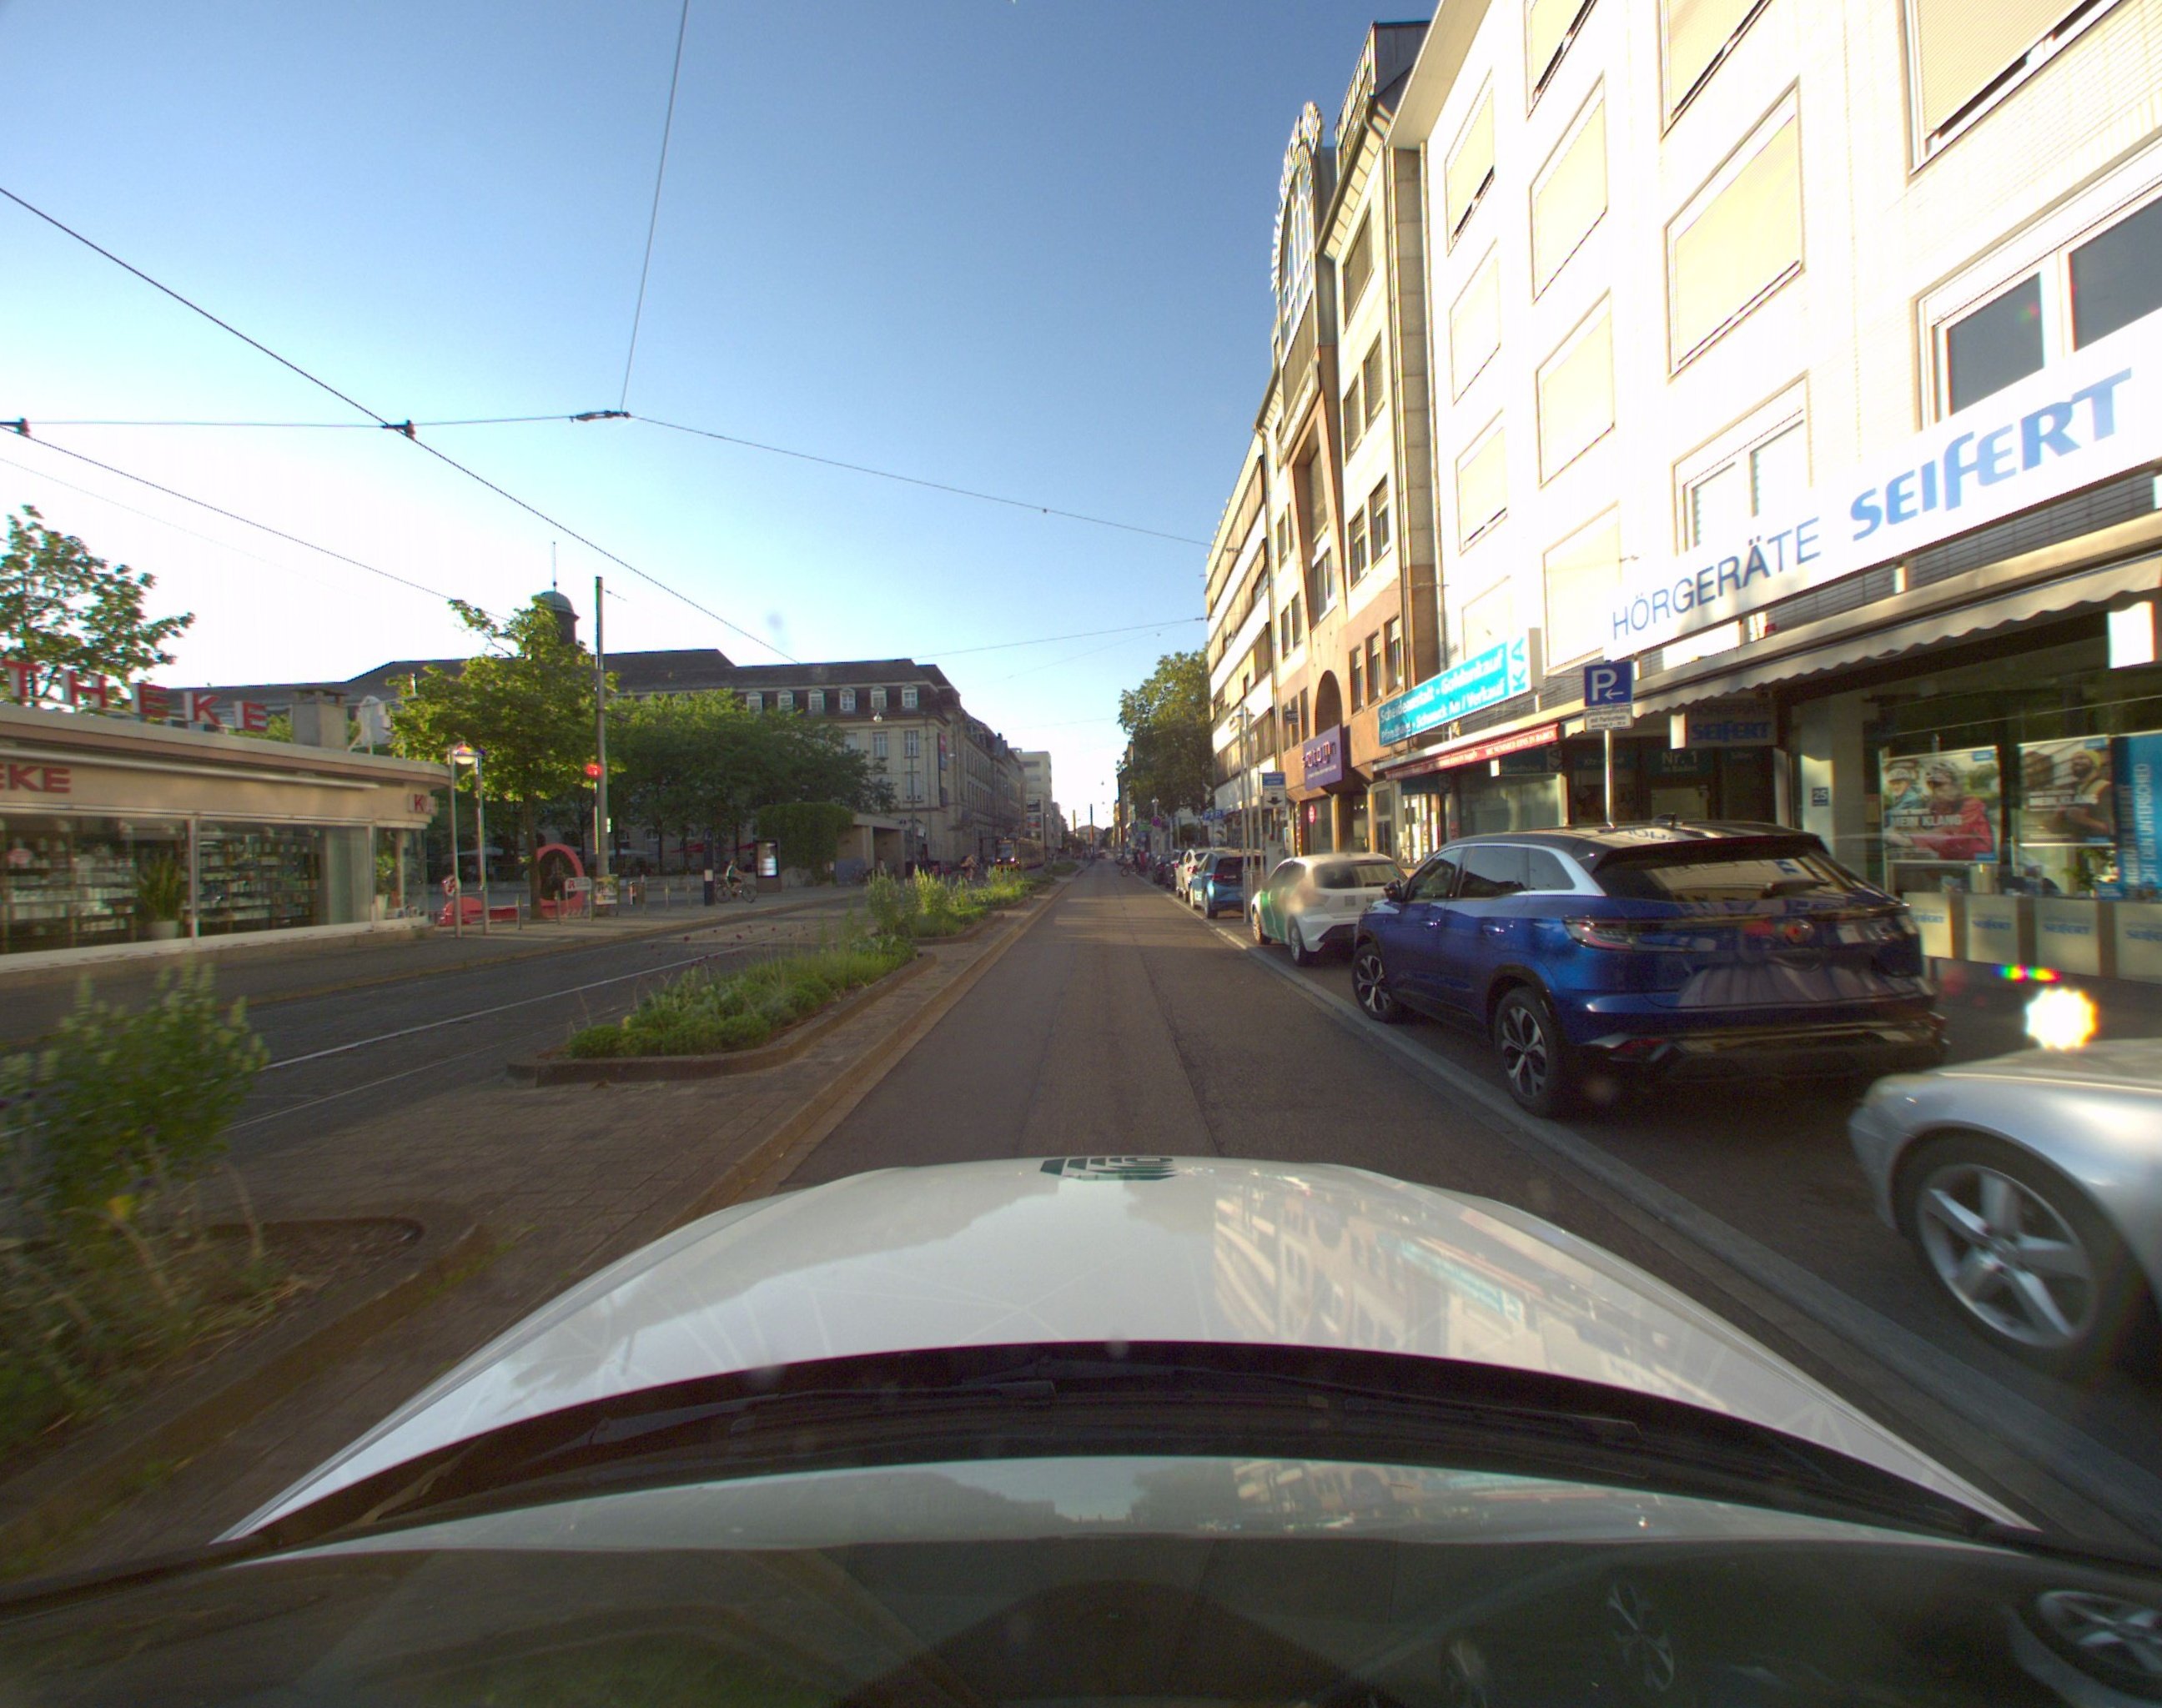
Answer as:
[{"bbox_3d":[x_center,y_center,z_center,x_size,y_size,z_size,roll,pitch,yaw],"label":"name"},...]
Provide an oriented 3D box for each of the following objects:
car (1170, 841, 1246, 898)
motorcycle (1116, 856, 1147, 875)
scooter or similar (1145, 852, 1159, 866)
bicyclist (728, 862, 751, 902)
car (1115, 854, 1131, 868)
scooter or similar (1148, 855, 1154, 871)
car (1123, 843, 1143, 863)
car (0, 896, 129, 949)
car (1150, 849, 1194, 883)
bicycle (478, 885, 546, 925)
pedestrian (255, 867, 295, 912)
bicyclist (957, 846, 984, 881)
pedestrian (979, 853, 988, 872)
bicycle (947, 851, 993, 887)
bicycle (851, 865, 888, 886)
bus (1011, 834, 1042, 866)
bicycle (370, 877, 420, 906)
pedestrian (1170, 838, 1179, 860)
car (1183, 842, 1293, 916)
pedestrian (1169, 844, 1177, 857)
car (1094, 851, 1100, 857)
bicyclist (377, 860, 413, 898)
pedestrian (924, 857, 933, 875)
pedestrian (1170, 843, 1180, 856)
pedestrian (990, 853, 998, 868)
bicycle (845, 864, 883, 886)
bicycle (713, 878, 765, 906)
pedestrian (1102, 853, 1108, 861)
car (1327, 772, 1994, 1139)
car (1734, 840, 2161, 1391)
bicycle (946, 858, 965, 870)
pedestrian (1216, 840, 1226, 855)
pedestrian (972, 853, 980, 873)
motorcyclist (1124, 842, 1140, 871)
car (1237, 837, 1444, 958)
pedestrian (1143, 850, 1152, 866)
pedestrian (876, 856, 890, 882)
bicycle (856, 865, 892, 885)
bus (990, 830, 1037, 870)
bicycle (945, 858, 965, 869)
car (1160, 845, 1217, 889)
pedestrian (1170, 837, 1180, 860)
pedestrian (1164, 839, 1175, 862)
[{"bbox_3d":[3.927,0.424,25.864,1.809,1.585,4.726,-2,0,2],"label":"car"},{"bbox_3d":[3.331,0.750,53.767,2.036,1.123,0.568,-2,-2,1],"label":"motorcycle"},{"bbox_3d":[6.238,0.442,71.565,1.121,1.216,0.300,-3,-1,2],"label":"scooter or similar"},{"bbox_3d":[-14.567,1.182,34.759,0.708,1.668,0.621,-1,-2,-39],"label":"bicyclist"},{"bbox_3d":[5.589,0.978,109.562,1.986,1.761,4.422,-2,0,1],"label":"car"},{"bbox_3d":[5.522,0.666,64.124,0.313,1.221,1.275,-2,0,8],"label":"scooter or similar"},{"bbox_3d":[5.381,-0.089,84.823,1.908,1.981,4.422,-2,0,1],"label":"car"},{"bbox_3d":[-34.141,2.210,26.041,1.791,1.565,4.682,-2,-2,2],"label":"car"},{"bbox_3d":[4.368,0.544,39.751,1.649,1.380,4.342,-6,0,1],"label":"car"},{"bbox_3d":[-17.956,1.597,25.739,1.718,1.112,0.490,-3,-1,-34],"label":"bicycle"},{"bbox_3d":[-38.425,1.681,38.831,0.935,2.060,0.930,-2,0,-4],"label":"pedestrian"},{"bbox_3d":[-5.711,0.498,41.975,0.937,1.776,0.959,-2,0,-42],"label":"bicyclist"},{"bbox_3d":[-9.625,0.880,80.347,0.730,1.840,0.715,-2,-1,1],"label":"pedestrian"},{"bbox_3d":[-5.713,0.770,41.961,2.381,1.740,0.596,-2,0,-43],"label":"bicycle"},{"bbox_3d":[-13.798,1.380,53.071,2.233,1.255,0.580,-2,-2,1],"label":"bicycle"},{"bbox_3d":[-6.469,-0.502,98.101,2.812,3.624,8.293,-2,1,2],"label":"bus"},{"bbox_3d":[-37.932,2.048,45.019,2.234,1.476,0.579,-2,-1,-1],"label":"bicycle"},{"bbox_3d":[7.297,-0.374,63.797,0.611,1.717,0.662,-2,-2,3],"label":"pedestrian"},{"bbox_3d":[3.762,0.546,20.354,1.803,1.552,4.836,-2,0,1],"label":"car"},{"bbox_3d":[10.010,-0.384,88.712,0.820,1.306,0.870,-2,-2,0],"label":"pedestrian"},{"bbox_3d":[4.623,0.015,233.963,1.754,1.827,3.571,-2,-2,1],"label":"car"},{"bbox_3d":[-37.952,1.367,45.079,0.955,2.018,1.143,-2,-2,0],"label":"bicyclist"},{"bbox_3d":[-13.849,1.093,73.847,0.717,1.646,0.655,-1,0,-21],"label":"pedestrian"},{"bbox_3d":[10.023,-0.464,86.624,0.899,1.306,0.966,-2,-2,0],"label":"pedestrian"},{"bbox_3d":[-10.137,0.809,95.031,0.811,1.707,0.762,-2,-2,2],"label":"pedestrian"},{"bbox_3d":[-13.716,1.315,51.543,2.189,1.300,0.580,-2,-2,1],"label":"bicycle"},{"bbox_3d":[-14.561,1.604,34.724,1.946,1.112,0.455,-1,-2,-39],"label":"bicycle"},{"bbox_3d":[5.977,0.732,199.793,1.231,1.928,1.017,-2,0,-15],"label":"pedestrian"},{"bbox_3d":[3.290,0.453,5.858,1.759,1.605,4.288,-2,0,1],"label":"car"},{"bbox_3d":[3.353,0.614,1.212,1.666,1.282,4.068,-2,0,4],"label":"car"},{"bbox_3d":[-13.992,1.113,90.749,2.073,1.148,0.574,-2,-2,-4],"label":"bicycle"},{"bbox_3d":[12.117,-0.554,70.478,0.639,1.285,0.744,-3,-2,17],"label":"pedestrian"},{"bbox_3d":[-10.354,0.890,80.405,0.690,1.847,0.662,-2,-2,1],"label":"pedestrian"},{"bbox_3d":[3.353,0.165,53.799,0.998,1.813,0.960,-2,-2,2],"label":"motorcyclist"},{"bbox_3d":[3.621,0.579,12.181,1.725,1.435,4.151,-3,-1,0],"label":"car"},{"bbox_3d":[7.714,0.439,94.425,0.785,1.751,0.893,-2,-2,-6],"label":"pedestrian"},{"bbox_3d":[-14.822,1.112,61.032,0.721,1.934,0.793,-2,-2,4],"label":"pedestrian"},{"bbox_3d":[-13.856,1.420,54.526,2.233,1.232,0.585,-2,-1,1],"label":"bicycle"},{"bbox_3d":[-6.870,-0.410,85.431,2.812,3.651,17.079,-2,0,2],"label":"bus"},{"bbox_3d":[-13.946,1.095,90.082,2.093,1.148,0.574,-2,-2,-4],"label":"bicycle"},{"bbox_3d":[4.332,0.464,33.526,1.769,1.538,4.579,-2,2,1],"label":"car"},{"bbox_3d":[7.271,-0.431,63.127,0.675,1.717,0.655,-2,-2,3],"label":"pedestrian"},{"bbox_3d":[7.191,-0.280,66.228,0.711,1.803,0.825,-3,-1,4],"label":"pedestrian"}]
